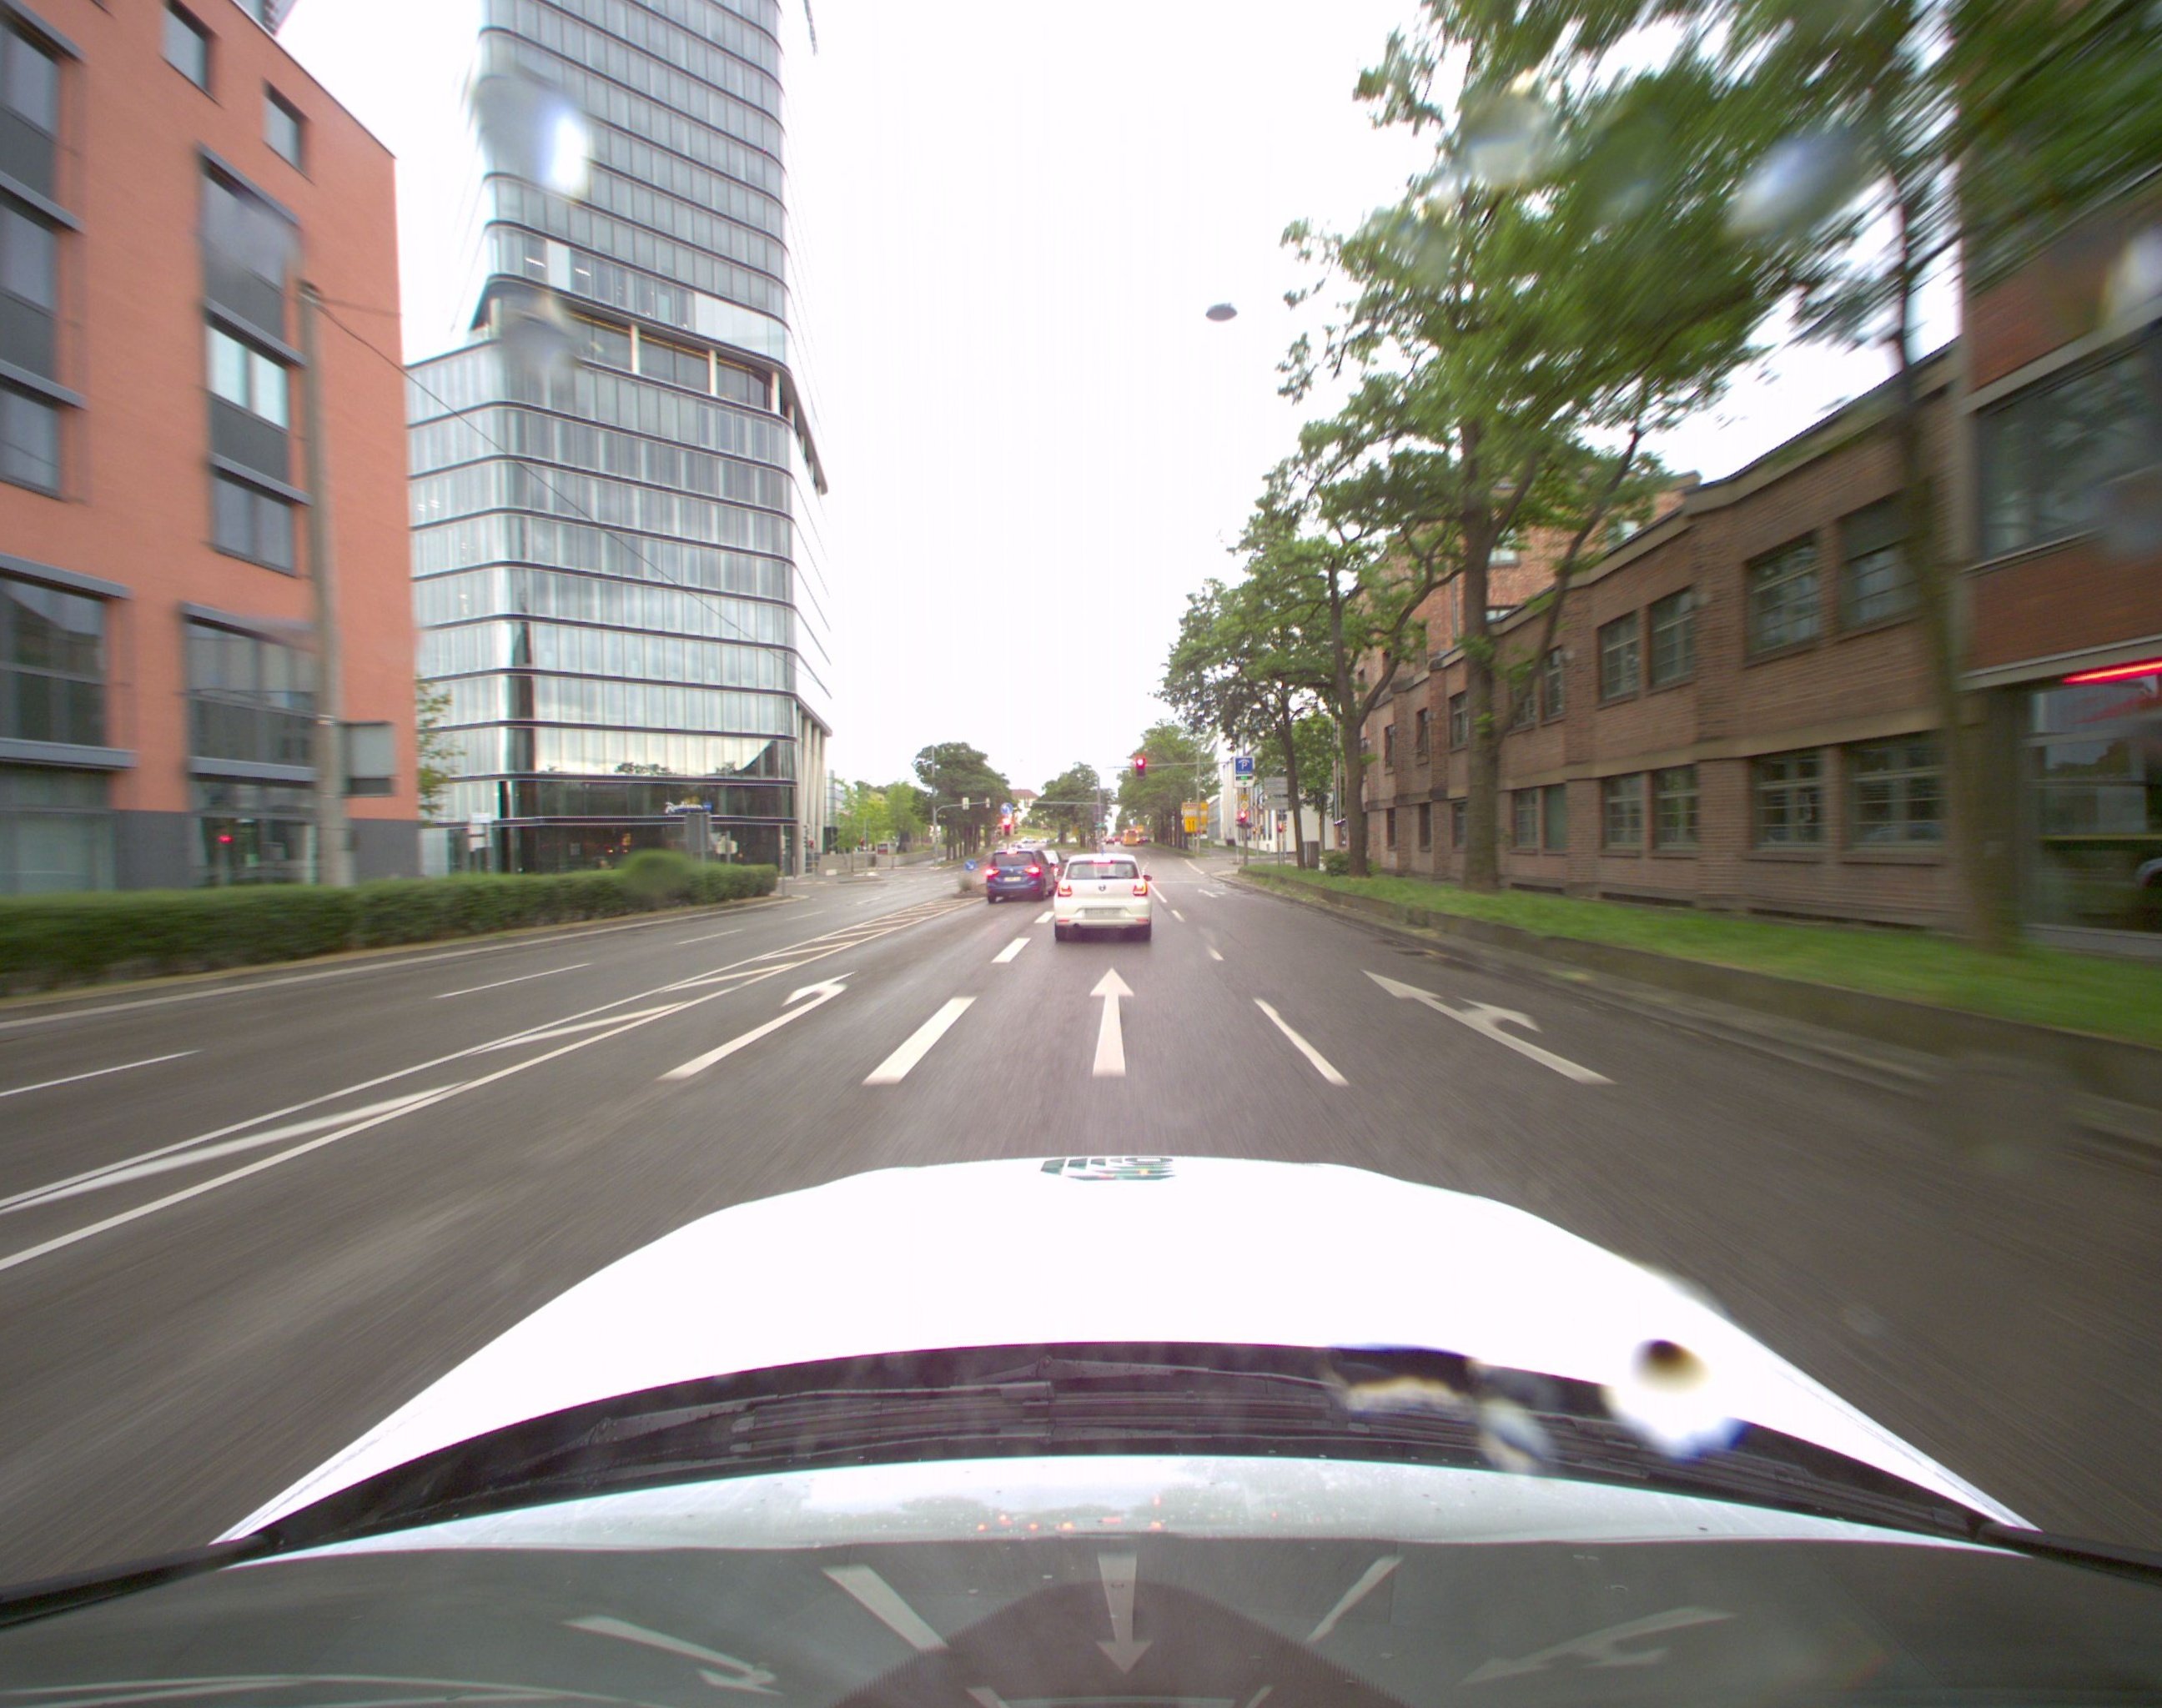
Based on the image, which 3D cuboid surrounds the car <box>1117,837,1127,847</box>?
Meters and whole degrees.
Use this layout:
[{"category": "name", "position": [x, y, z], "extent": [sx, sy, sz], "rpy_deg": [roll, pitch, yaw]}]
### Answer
[{"category": "car", "position": [8.642, -2.472, 173.604], "extent": [1.986, 2.013, 4.001], "rpy_deg": [-2, 0, 1]}]

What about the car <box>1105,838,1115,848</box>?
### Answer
[{"category": "car", "position": [6.152, -2.364, 173.577], "extent": [1.986, 2.013, 4.001], "rpy_deg": [-2, 0, 1]}]

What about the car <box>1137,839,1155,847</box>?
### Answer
[{"category": "car", "position": [13.743, -2.383, 173.198], "extent": [3.850, 1.515, 1.679], "rpy_deg": [-2, 0, -44]}]

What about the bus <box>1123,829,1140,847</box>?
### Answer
[{"category": "bus", "position": [9.803, -3.136, 158.347], "extent": [2.818, 3.266, 10.004], "rpy_deg": [-1, 1, 1]}]

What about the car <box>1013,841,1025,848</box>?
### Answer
[{"category": "car", "position": [-12.275, -1.881, 160.351], "extent": [1.814, 1.411, 4.640], "rpy_deg": [-3, 1, -10]}]

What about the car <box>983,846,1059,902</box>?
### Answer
[{"category": "car", "position": [-1.851, 0.568, 26.349], "extent": [1.764, 1.596, 4.203], "rpy_deg": [-2, 0, 4]}]

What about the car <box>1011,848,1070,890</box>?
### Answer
[{"category": "car", "position": [-1.563, 0.549, 32.577], "extent": [1.839, 1.510, 4.052], "rpy_deg": [-2, 0, 4]}]

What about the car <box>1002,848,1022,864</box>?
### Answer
[{"category": "car", "position": [-6.924, 0.181, 81.767], "extent": [1.745, 1.520, 3.815], "rpy_deg": [-3, 1, -2]}]

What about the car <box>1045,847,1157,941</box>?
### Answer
[{"category": "car", "position": [0.408, 0.636, 15.206], "extent": [1.787, 1.502, 4.002], "rpy_deg": [-1, 0, 2]}]
